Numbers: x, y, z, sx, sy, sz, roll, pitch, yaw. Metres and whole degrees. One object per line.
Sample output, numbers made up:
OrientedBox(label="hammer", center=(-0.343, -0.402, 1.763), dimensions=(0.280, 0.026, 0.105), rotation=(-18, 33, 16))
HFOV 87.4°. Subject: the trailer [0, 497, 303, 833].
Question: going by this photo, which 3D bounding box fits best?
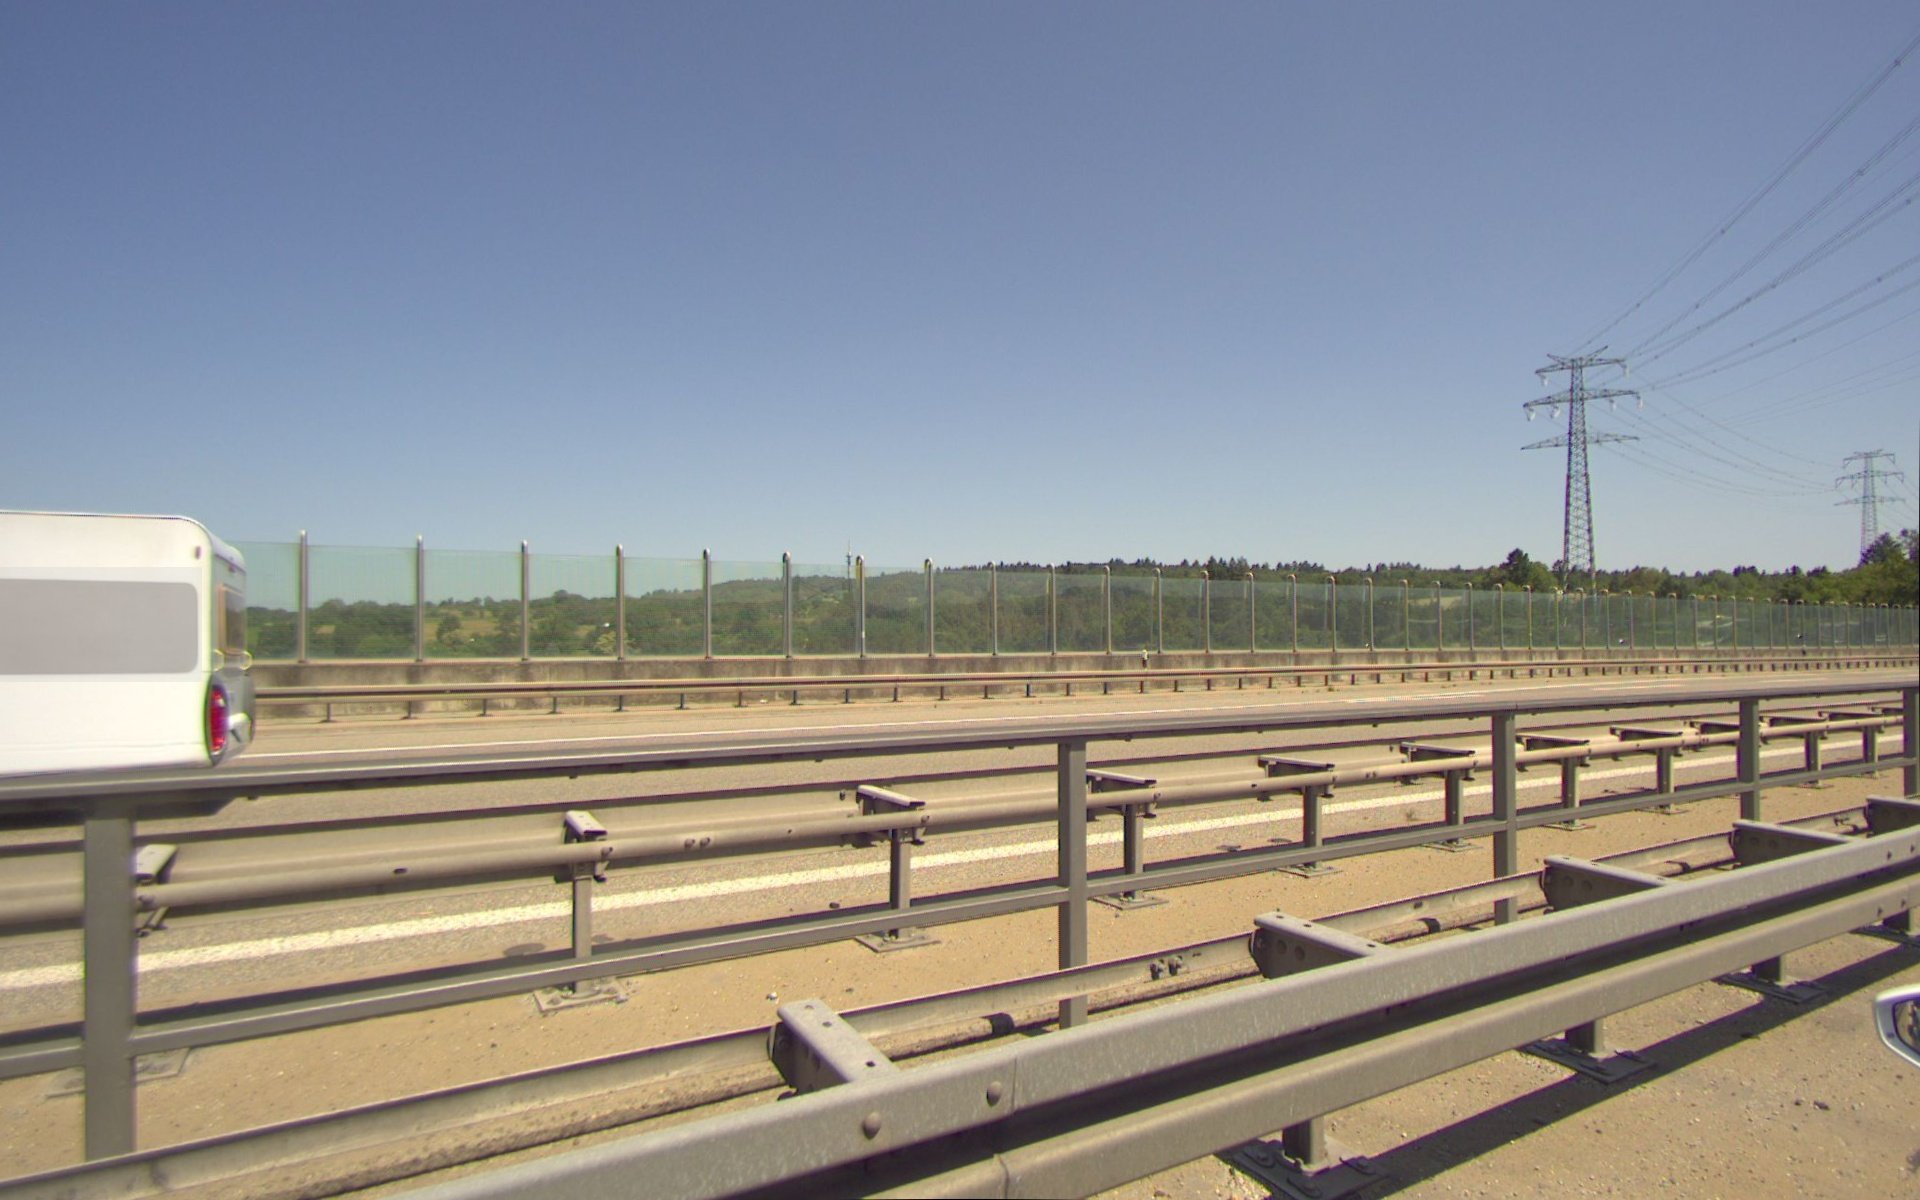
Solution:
OrientedBox(label="trailer", center=(-9.349, 0.515, 8.000), dimensions=(6.694, 2.582, 2.482), rotation=(1, -3, -30))
